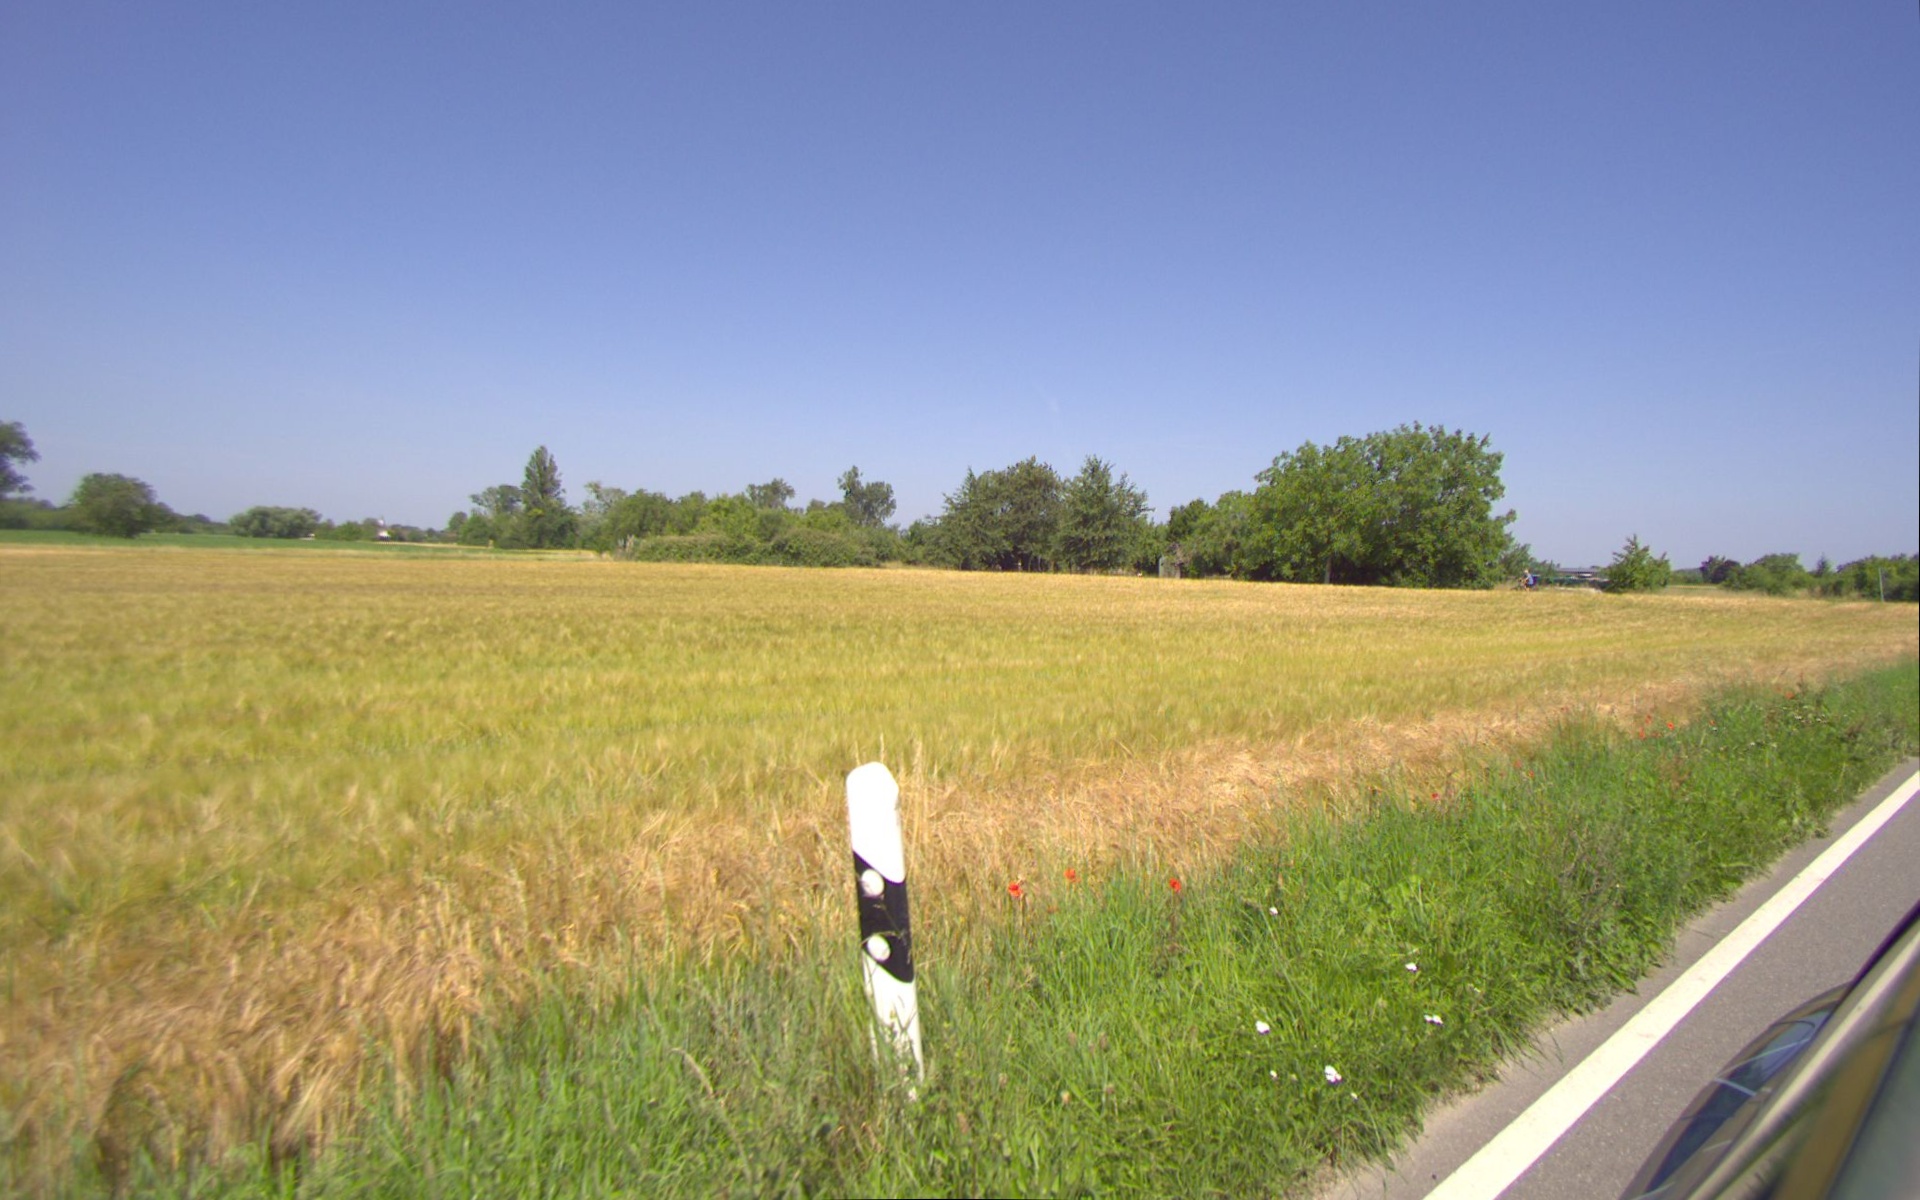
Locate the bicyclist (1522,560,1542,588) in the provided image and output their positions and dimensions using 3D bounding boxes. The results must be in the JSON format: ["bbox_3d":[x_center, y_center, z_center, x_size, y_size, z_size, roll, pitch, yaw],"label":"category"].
[{"bbox_3d":[33.068,-1.493,58.511,0.723,1.593,0.673,2,2,7],"label":"bicyclist"}]

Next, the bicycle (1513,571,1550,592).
[{"bbox_3d":[33.055,-1.071,58.526,1.739,1.129,0.521,2,2,8],"label":"bicycle"}]
